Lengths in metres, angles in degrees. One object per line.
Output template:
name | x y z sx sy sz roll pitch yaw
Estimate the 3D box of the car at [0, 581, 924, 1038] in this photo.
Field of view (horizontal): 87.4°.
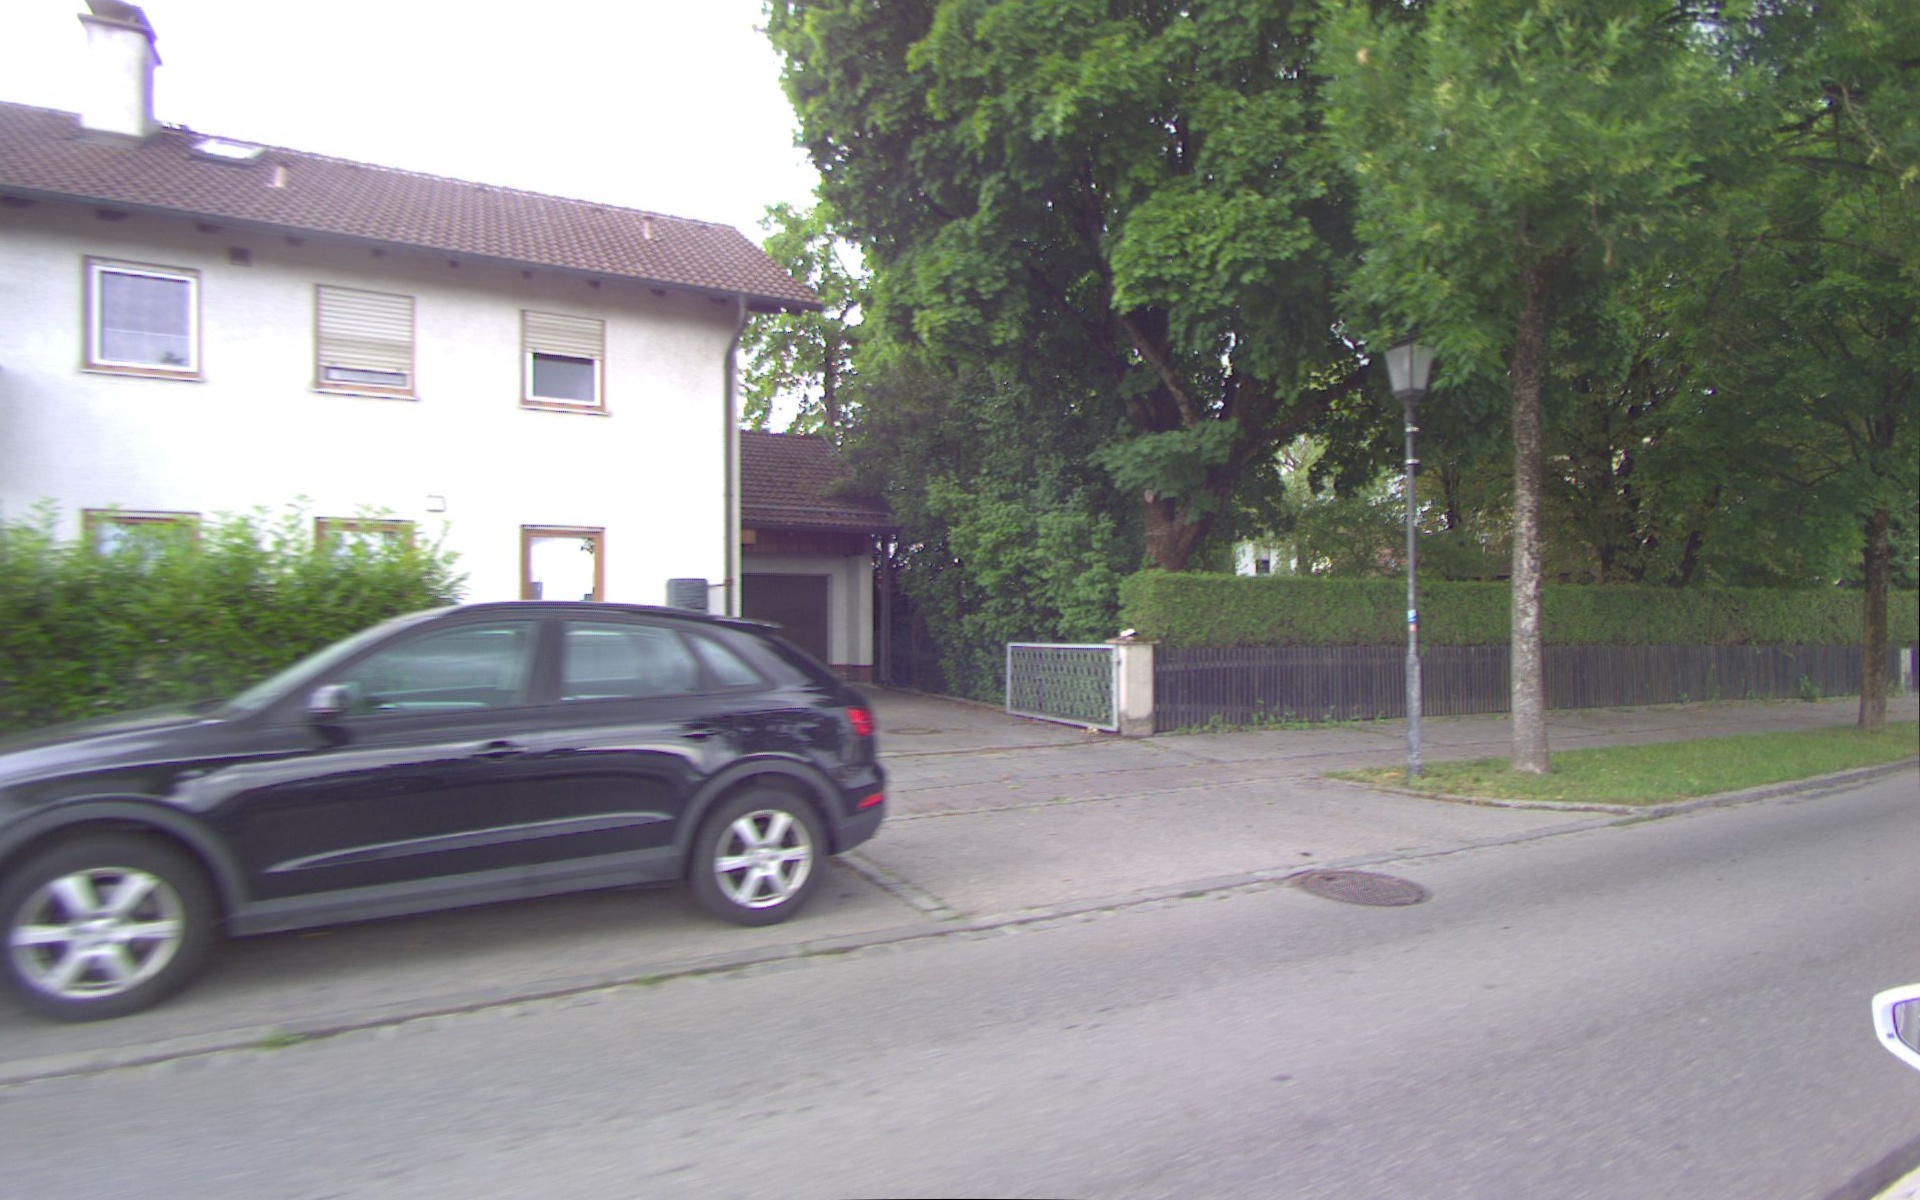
car | -2.438 0.751 5.079 4.184 1.619 1.764 0 0 -28
